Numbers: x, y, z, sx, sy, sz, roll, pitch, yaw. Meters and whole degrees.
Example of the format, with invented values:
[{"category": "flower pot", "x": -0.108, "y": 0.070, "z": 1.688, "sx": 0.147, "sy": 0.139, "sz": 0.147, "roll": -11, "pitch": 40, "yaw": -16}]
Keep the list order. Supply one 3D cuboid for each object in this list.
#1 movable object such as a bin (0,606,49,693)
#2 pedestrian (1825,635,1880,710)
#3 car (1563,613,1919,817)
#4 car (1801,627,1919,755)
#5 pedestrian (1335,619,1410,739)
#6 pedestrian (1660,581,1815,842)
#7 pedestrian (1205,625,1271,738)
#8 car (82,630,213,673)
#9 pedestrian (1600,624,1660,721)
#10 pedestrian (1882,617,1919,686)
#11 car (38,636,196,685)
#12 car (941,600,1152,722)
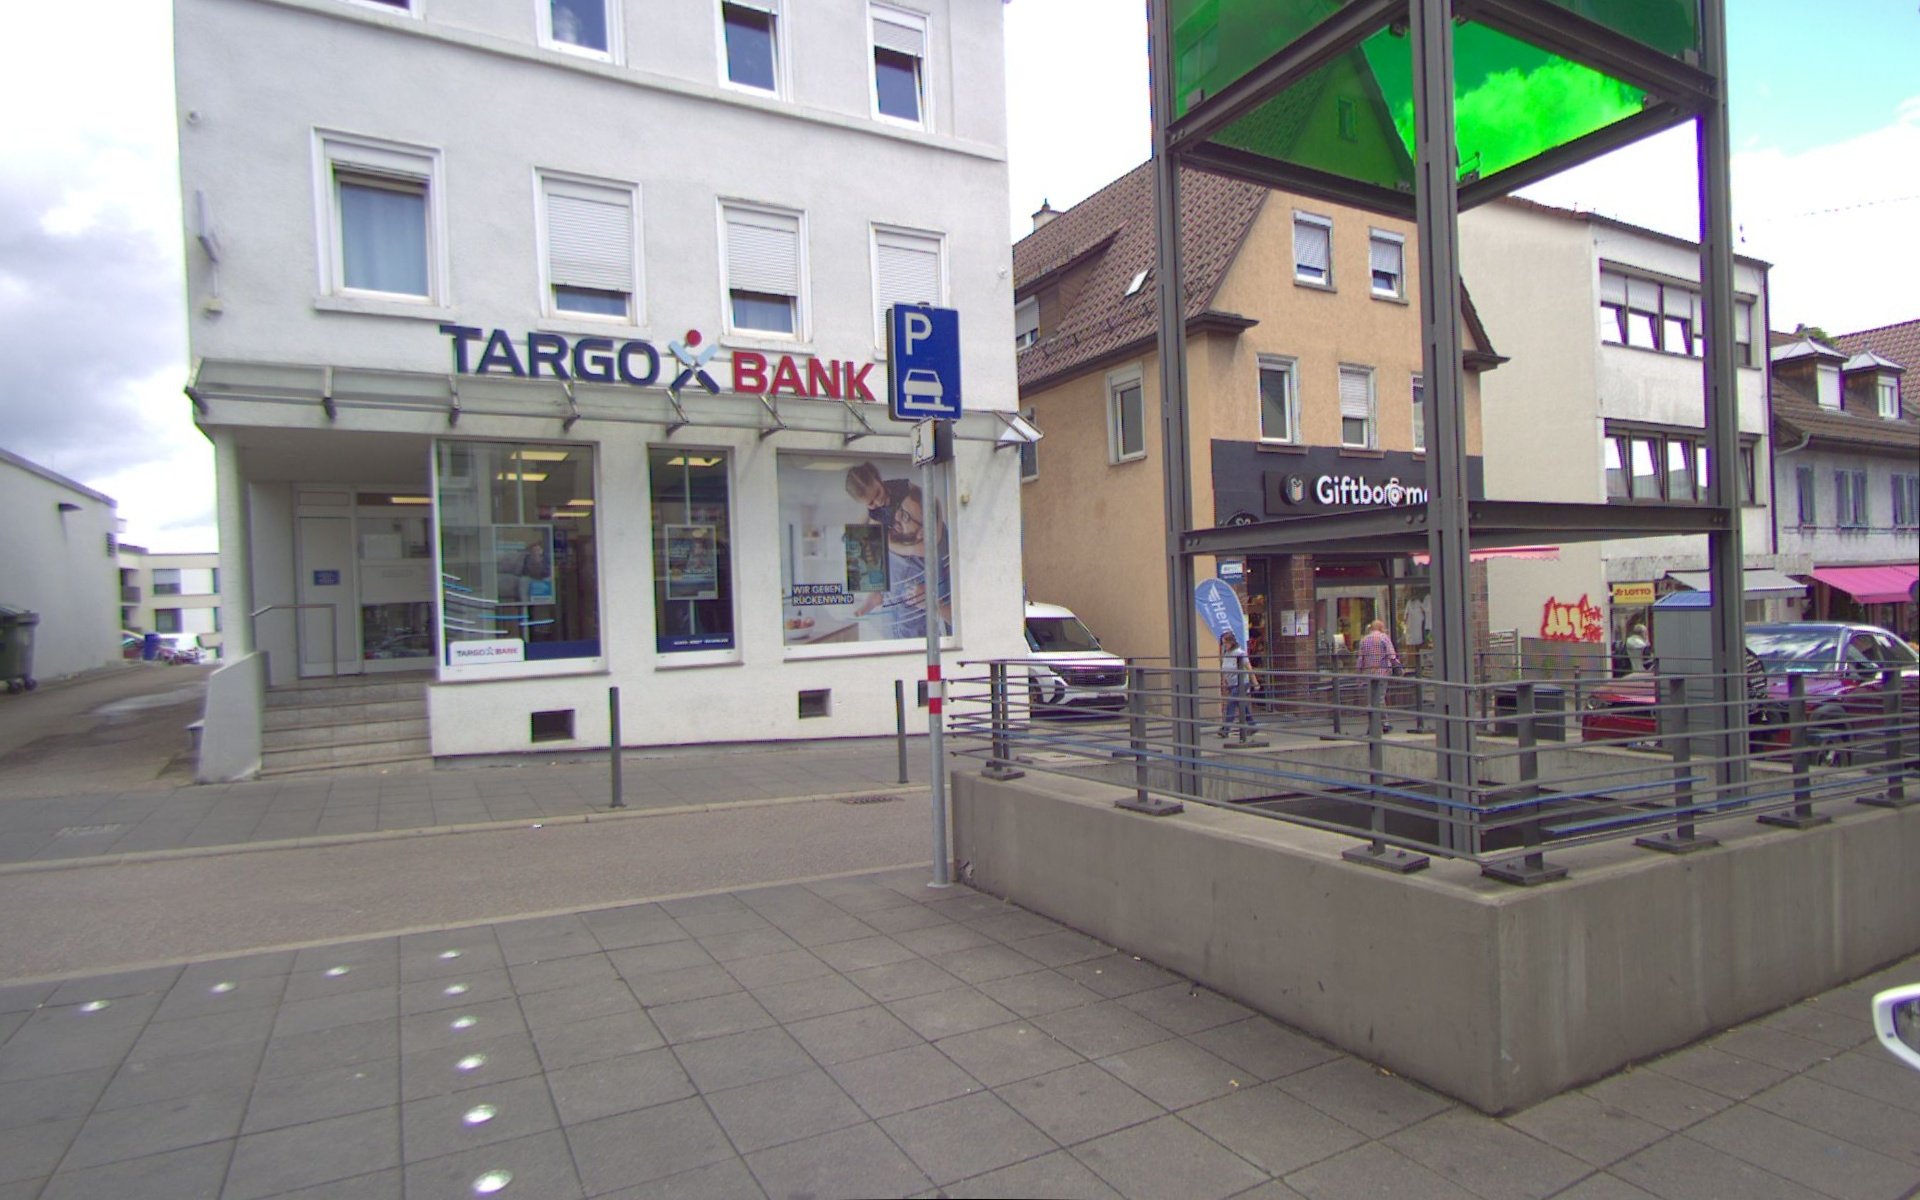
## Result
[{"category": "movable object such as a bin", "x": -15.844, "y": 0.798, "z": 16.497, "sx": 1.031, "sy": 1.394, "sz": 1.277, "roll": 1, "pitch": -1, "yaw": -30}, {"category": "pedestrian", "x": 19.211, "y": 1.541, "z": 21.623, "sx": 0.936, "sy": 1.559, "sz": 0.660, "roll": 1, "pitch": -1, "yaw": -32}, {"category": "car", "x": 7.831, "y": 0.957, "z": 9.650, "sx": 4.144, "sy": 1.563, "sz": 1.730, "roll": 2, "pitch": 0, "yaw": -31}, {"category": "car", "x": 13.004, "y": 1.152, "z": 13.236, "sx": 3.838, "sy": 1.495, "sz": 1.731, "roll": 2, "pitch": 0, "yaw": -30}, {"category": "pedestrian", "x": 6.103, "y": 1.152, "z": 14.867, "sx": 0.816, "sy": 1.711, "sz": 0.637, "roll": 1, "pitch": -1, "yaw": -26}, {"category": "pedestrian", "x": 5.394, "y": 0.732, "z": 6.973, "sx": 0.889, "sy": 1.694, "sz": 0.531, "roll": 0, "pitch": -1, "yaw": -27}, {"category": "pedestrian", "x": 4.036, "y": 1.172, "z": 14.603, "sx": 0.708, "sy": 1.594, "sz": 0.562, "roll": 1, "pitch": -3, "yaw": -30}, {"category": "car", "x": -33.224, "y": 2.077, "z": 41.213, "sx": 3.890, "sy": 1.630, "sz": 1.952, "roll": 2, "pitch": 0, "yaw": -30}, {"category": "pedestrian", "x": 12.007, "y": 1.287, "z": 18.014, "sx": 0.653, "sy": 1.711, "sz": 0.646, "roll": -1, "pitch": -1, "yaw": 10}, {"category": "pedestrian", "x": 23.772, "y": 1.293, "z": 25.347, "sx": 0.570, "sy": 1.711, "sz": 0.575, "roll": 1, "pitch": 0, "yaw": -31}, {"category": "car", "x": -30.873, "y": 2.195, "z": 36.964, "sx": 4.165, "sy": 1.630, "sz": 1.860, "roll": 2, "pitch": 0, "yaw": -30}, {"category": "car", "x": 1.390, "y": 0.993, "z": 17.830, "sx": 1.859, "sy": 1.898, "sz": 4.055, "roll": 1, "pitch": -1, "yaw": -28}]
